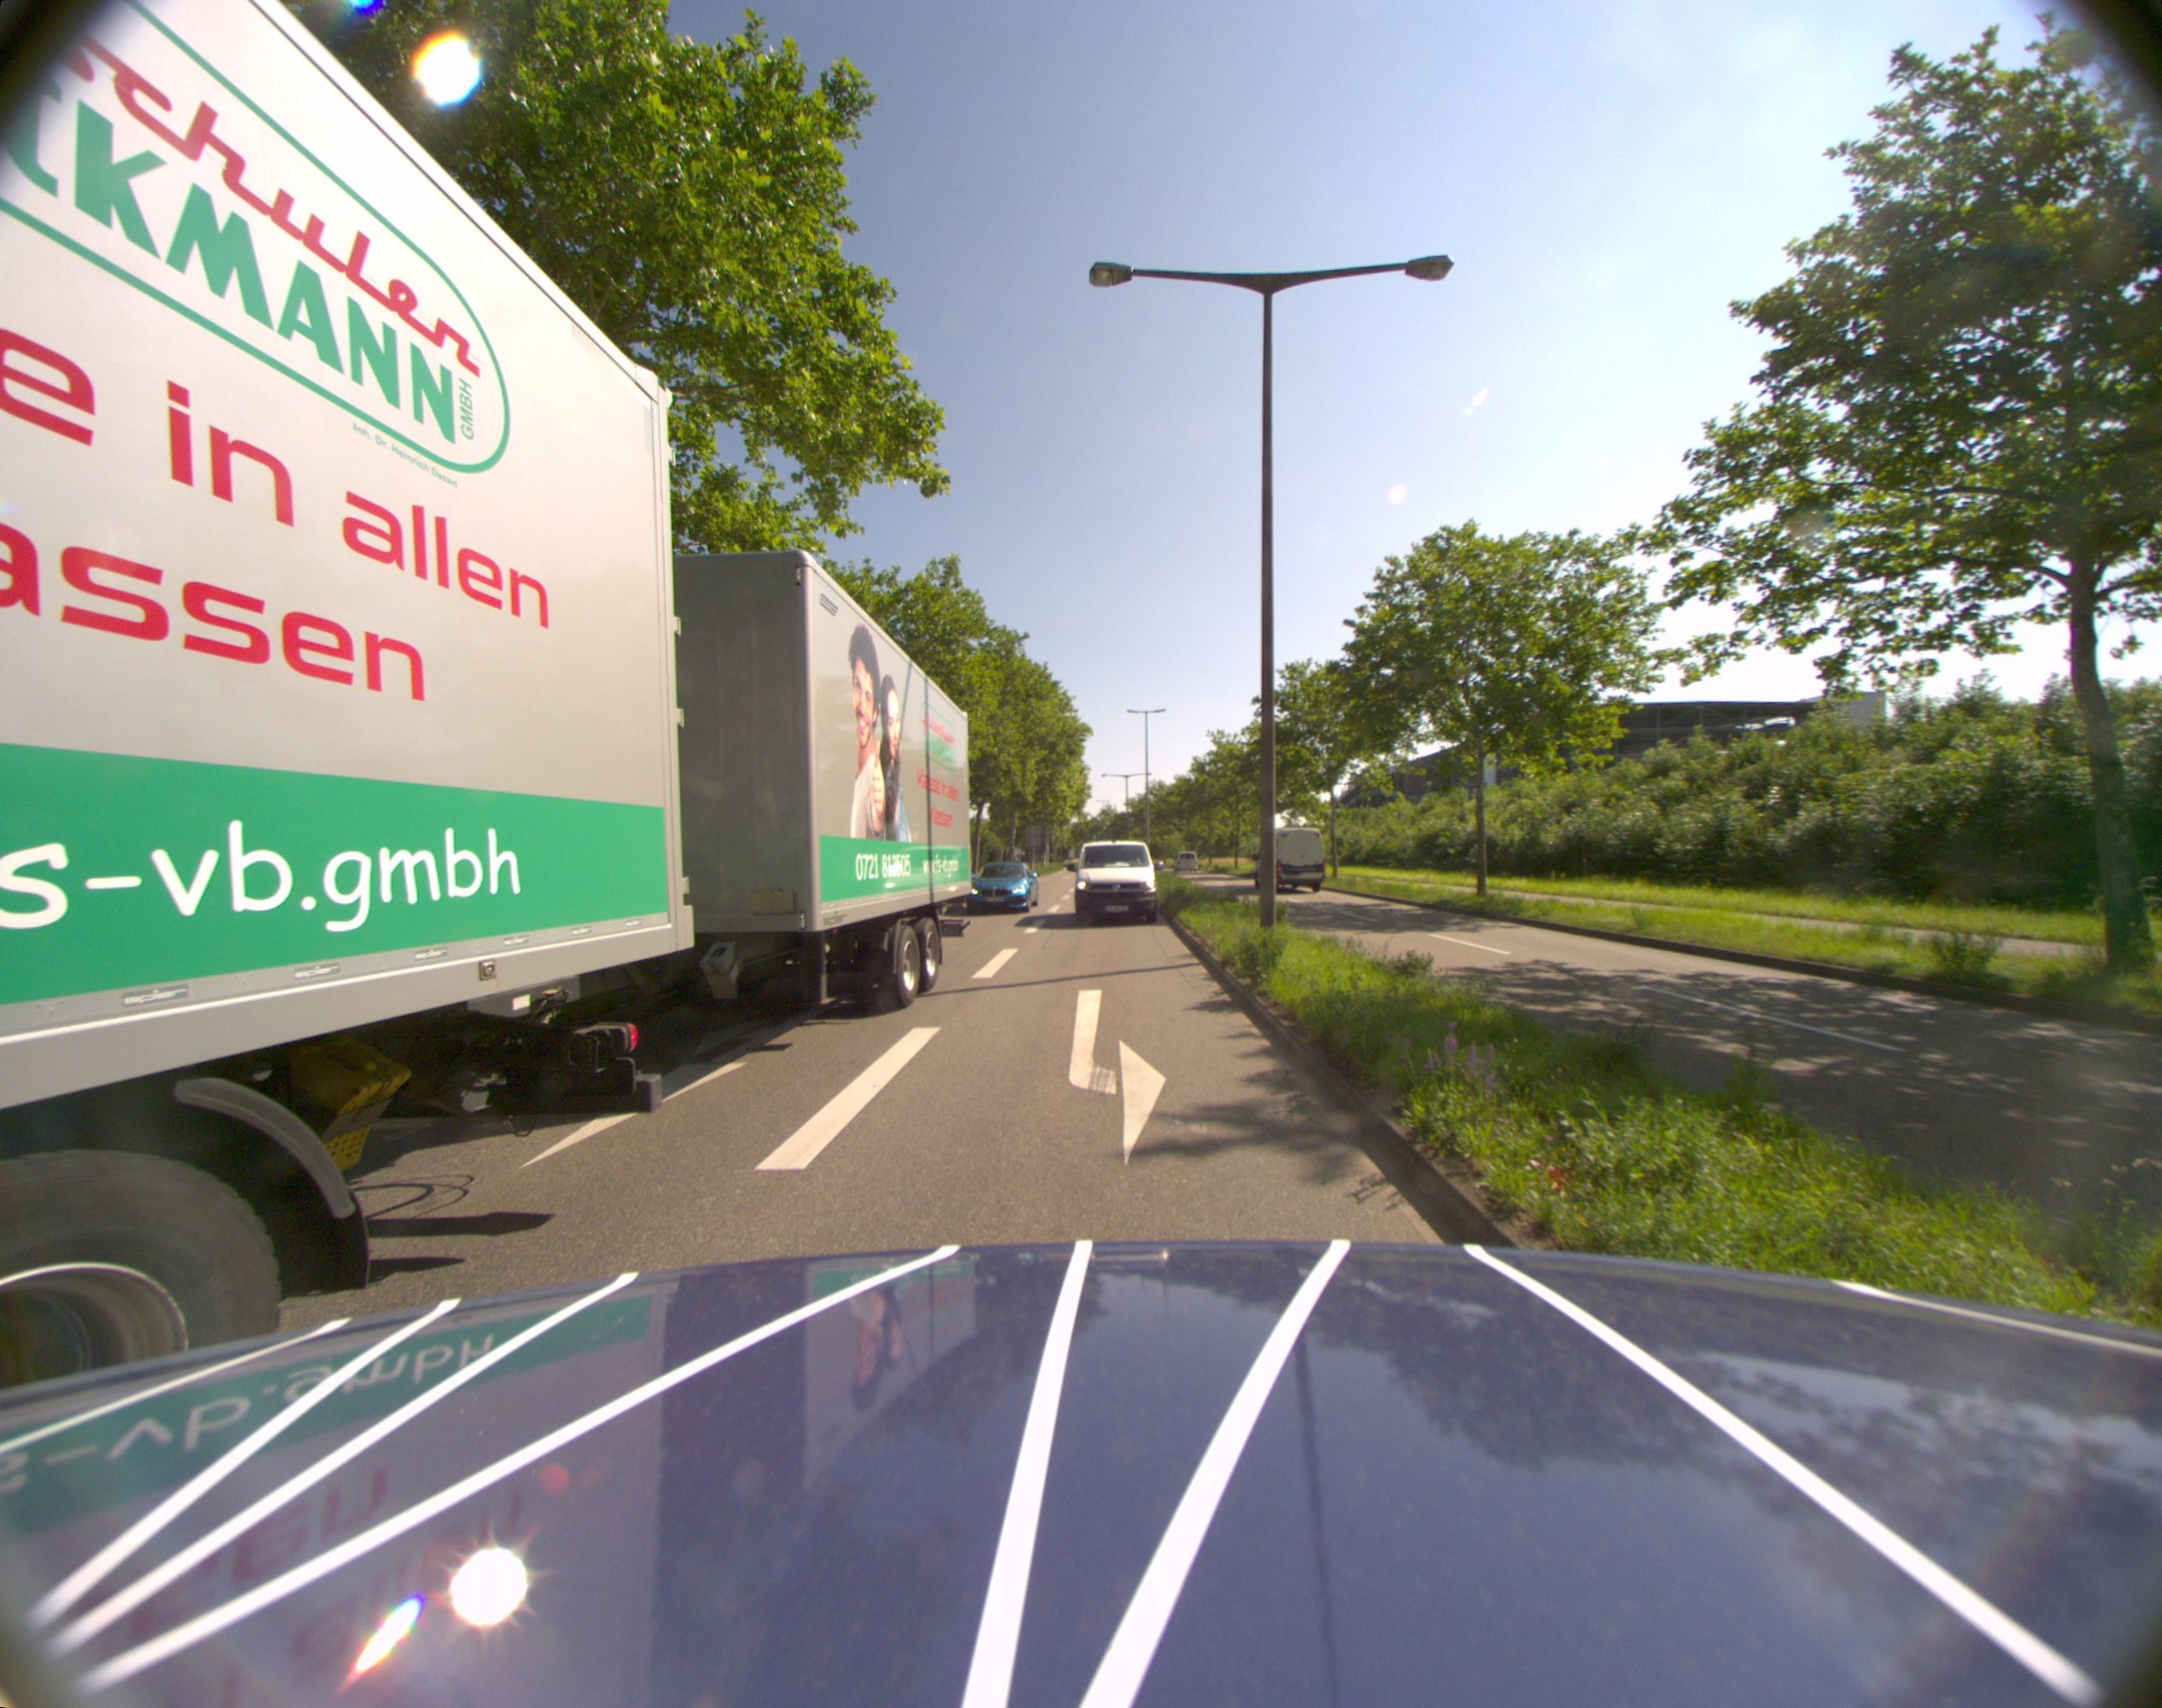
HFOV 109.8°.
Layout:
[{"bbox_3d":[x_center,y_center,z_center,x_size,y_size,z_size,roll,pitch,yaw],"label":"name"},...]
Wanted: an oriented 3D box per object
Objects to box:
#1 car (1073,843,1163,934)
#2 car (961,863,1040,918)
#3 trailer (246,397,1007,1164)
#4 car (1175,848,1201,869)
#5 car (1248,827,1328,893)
[{"bbox_3d":[0.803,0.713,18.343,1.872,1.889,4.881,0,0,1],"label":"car"},{"bbox_3d":[-2.298,1.016,22.820,1.872,1.412,4.130,0,0,1],"label":"car"},{"bbox_3d":[-2.710,-0.381,7.747,2.743,3.854,7.736,-1,1,3],"label":"trailer"},{"bbox_3d":[10.388,0.430,74.079,1.998,1.887,4.574,1,0,1],"label":"car"},{"bbox_3d":[8.975,0.220,33.521,1.998,2.647,5.786,1,0,1],"label":"car"}]
